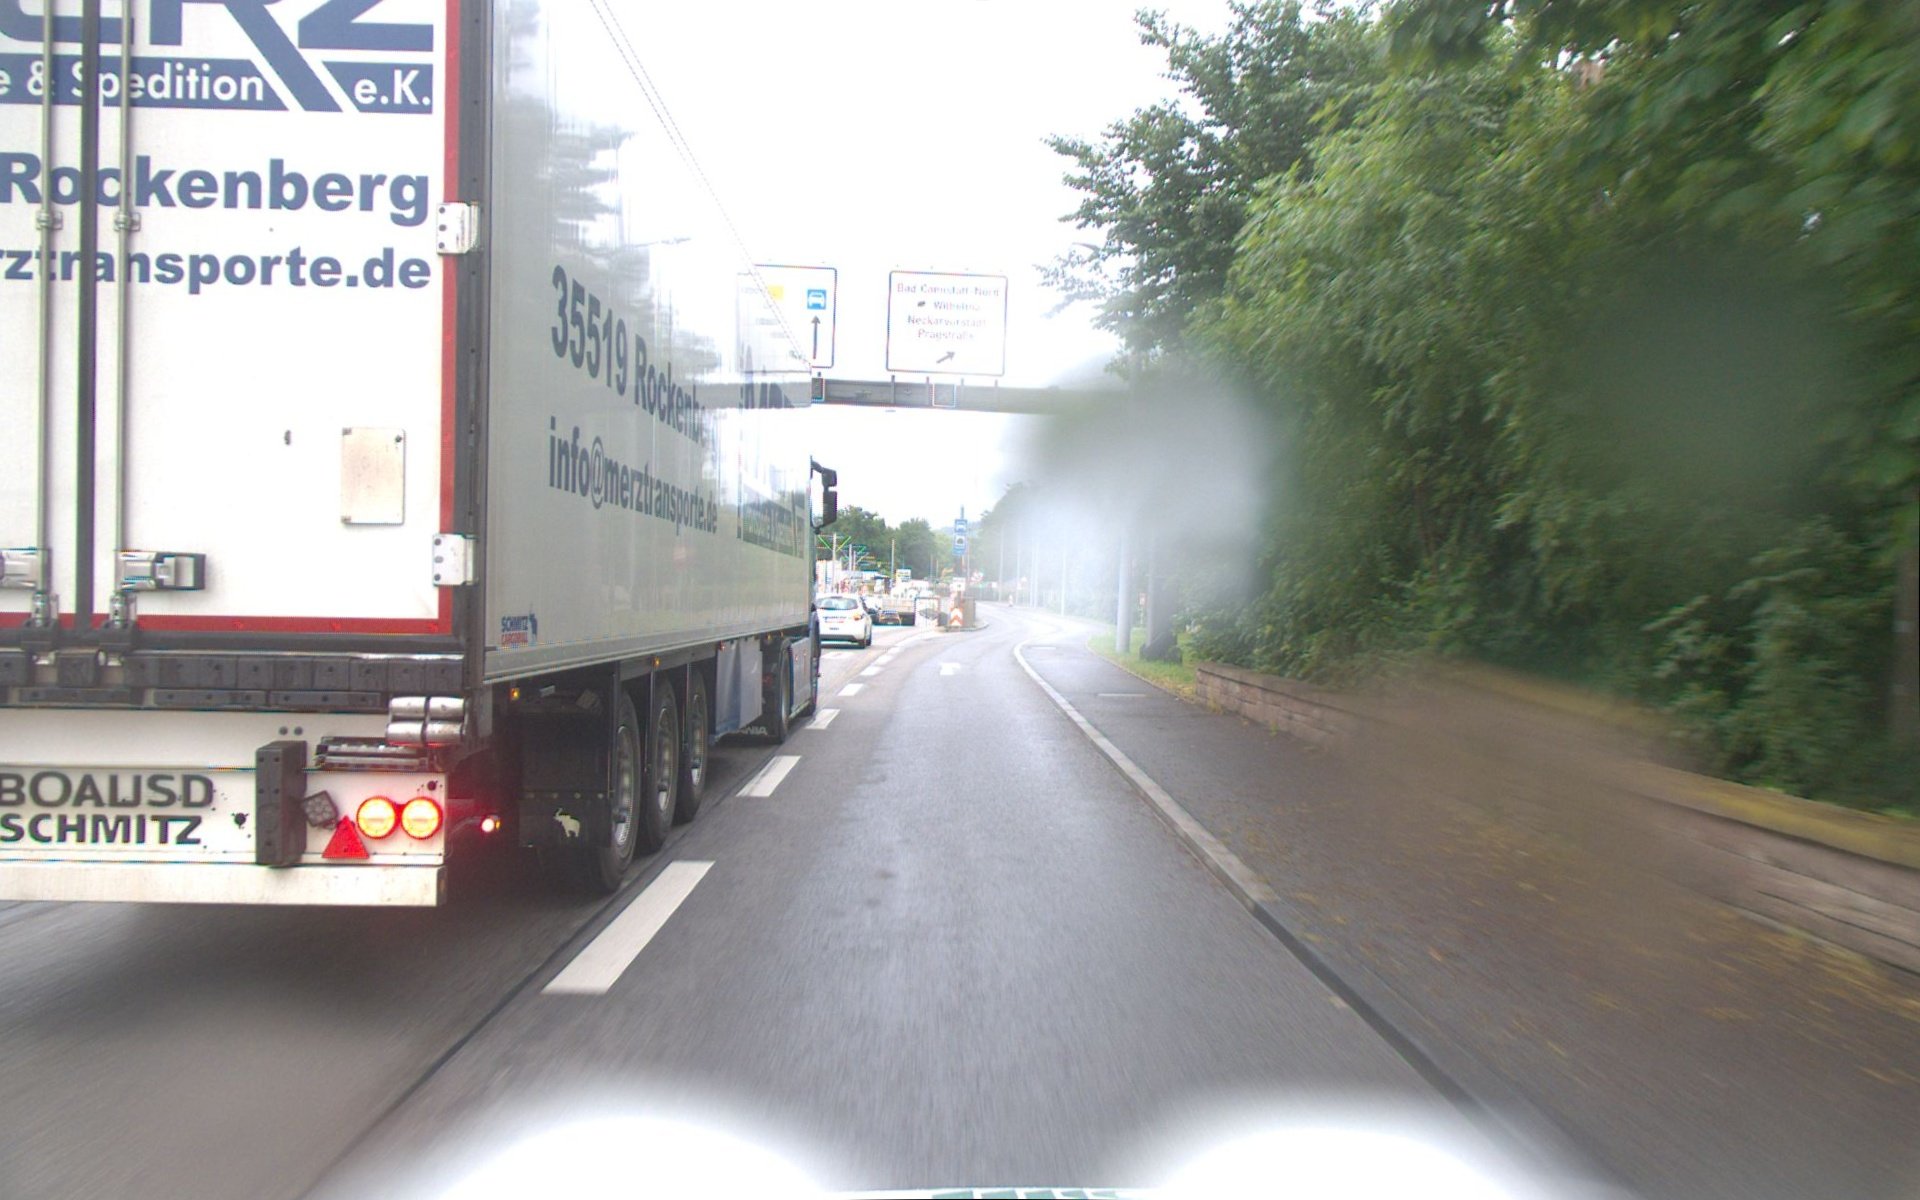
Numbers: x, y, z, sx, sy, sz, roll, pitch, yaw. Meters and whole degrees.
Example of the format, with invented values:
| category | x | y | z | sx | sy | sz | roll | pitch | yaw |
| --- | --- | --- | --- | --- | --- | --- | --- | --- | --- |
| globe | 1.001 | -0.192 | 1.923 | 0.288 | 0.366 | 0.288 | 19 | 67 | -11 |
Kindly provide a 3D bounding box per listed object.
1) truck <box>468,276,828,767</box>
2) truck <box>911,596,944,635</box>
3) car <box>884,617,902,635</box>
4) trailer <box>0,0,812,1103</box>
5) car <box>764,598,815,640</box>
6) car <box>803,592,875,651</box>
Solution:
| category | x | y | z | sx | sy | sz | roll | pitch | yaw |
| --- | --- | --- | --- | --- | --- | --- | --- | --- | --- |
| truck | -2.980 | -0.700 | 17.628 | 2.700 | 4.278 | 6.305 | 0 | 0 | -1 |
| truck | -3.490 | 1.653 | 177.209 | 3.447 | 4.110 | 8.072 | 1 | 0 | -1 |
| car | -5.667 | 2.211 | 140.352 | 1.397 | 1.378 | 2.959 | 1 | 0 | -1 |
| trailer | -2.878 | -0.658 | 11.657 | 2.706 | 4.327 | 13.180 | 0 | 0 | -1 |
| car | -6.699 | 0.717 | 65.172 | 1.647 | 1.471 | 4.000 | 1 | 2 | -1 |
| car | -3.341 | 0.577 | 46.327 | 1.773 | 1.448 | 4.000 | 1 | 2 | -1 |
